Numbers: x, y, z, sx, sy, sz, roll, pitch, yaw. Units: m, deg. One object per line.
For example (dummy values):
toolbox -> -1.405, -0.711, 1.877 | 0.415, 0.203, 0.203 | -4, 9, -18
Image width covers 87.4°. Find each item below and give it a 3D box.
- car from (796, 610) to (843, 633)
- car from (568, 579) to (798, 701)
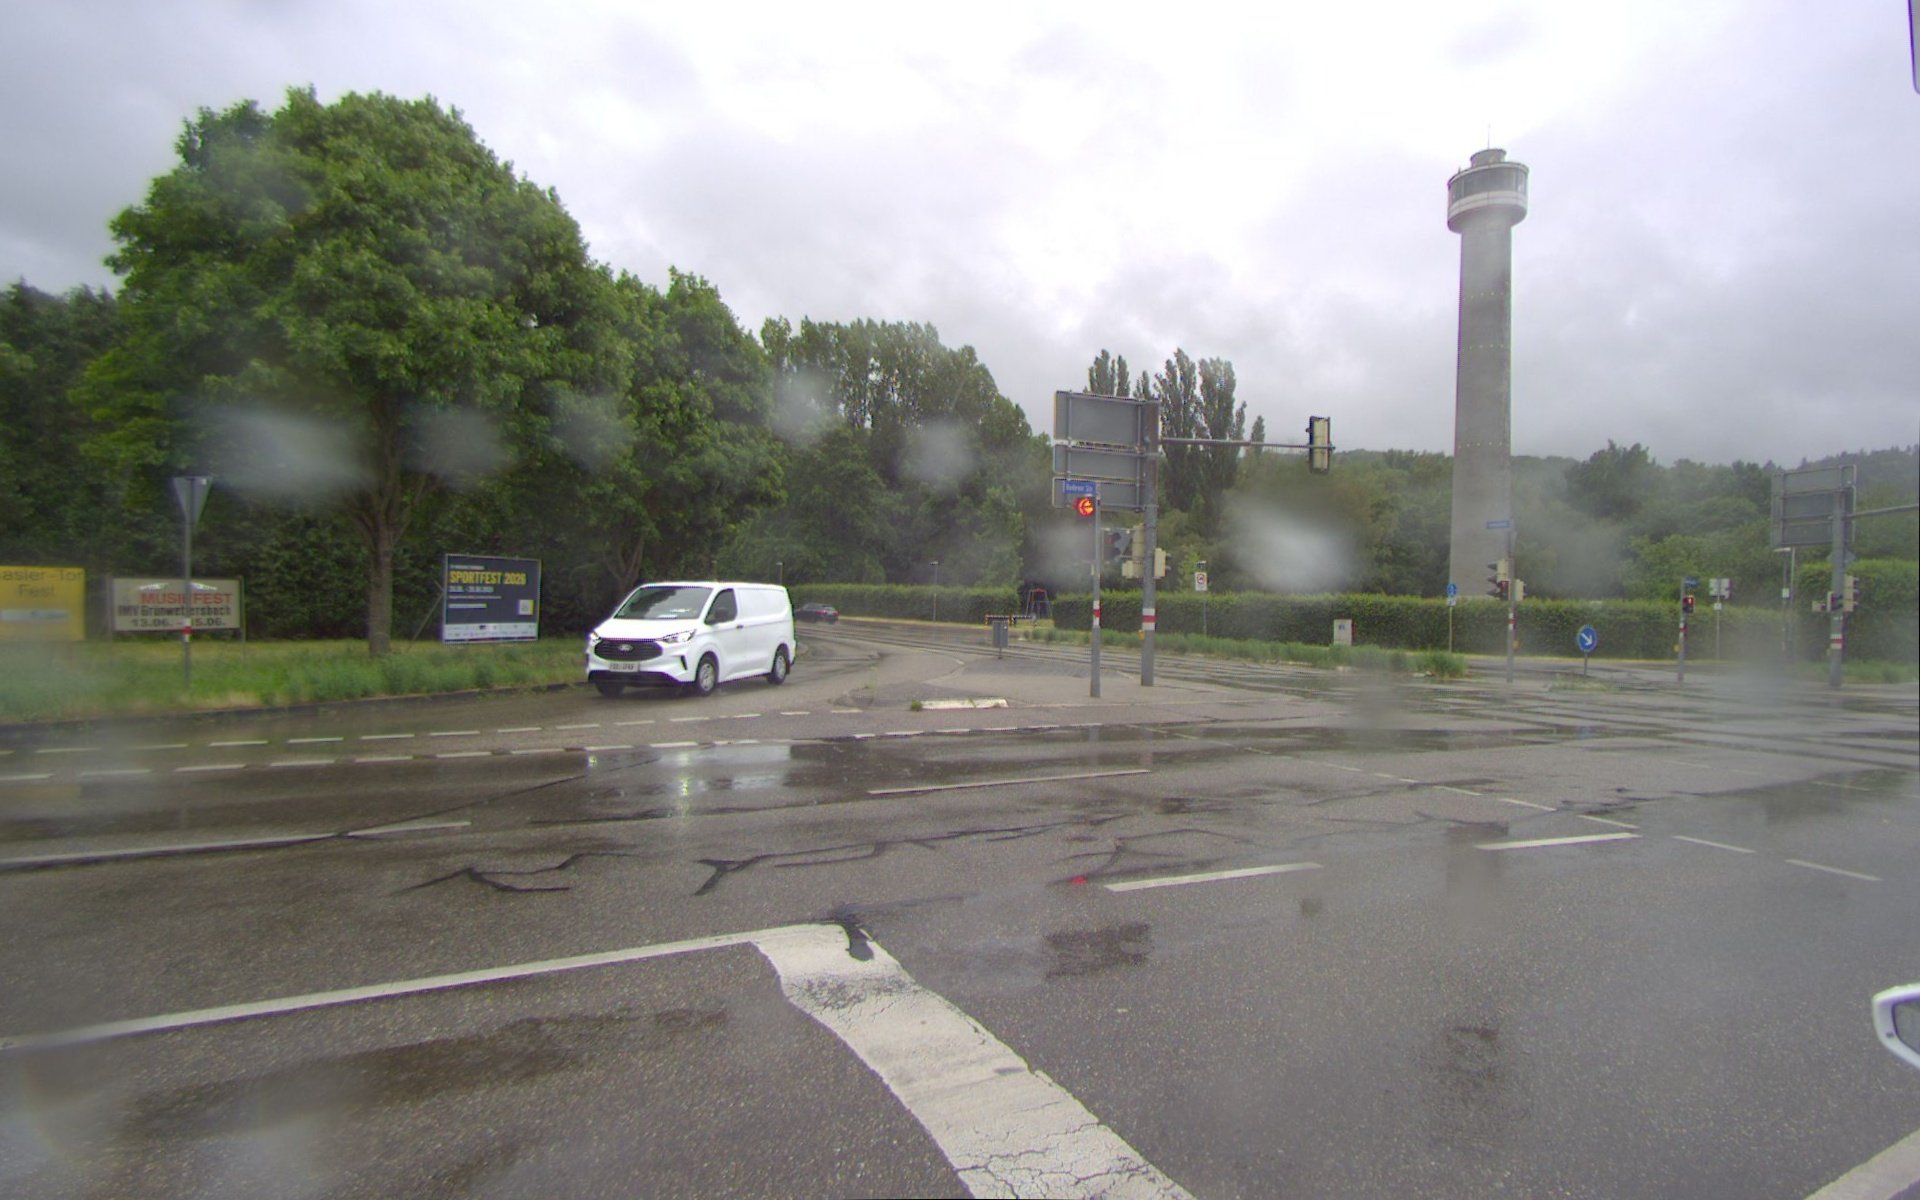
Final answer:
car -> -10.336, 1.569, 73.547 | 1.744, 1.606, 4.079 | 1, -1, -35
car -> -4.824, 0.671, 18.385 | 2.070, 1.917, 4.794 | 0, -1, 12
